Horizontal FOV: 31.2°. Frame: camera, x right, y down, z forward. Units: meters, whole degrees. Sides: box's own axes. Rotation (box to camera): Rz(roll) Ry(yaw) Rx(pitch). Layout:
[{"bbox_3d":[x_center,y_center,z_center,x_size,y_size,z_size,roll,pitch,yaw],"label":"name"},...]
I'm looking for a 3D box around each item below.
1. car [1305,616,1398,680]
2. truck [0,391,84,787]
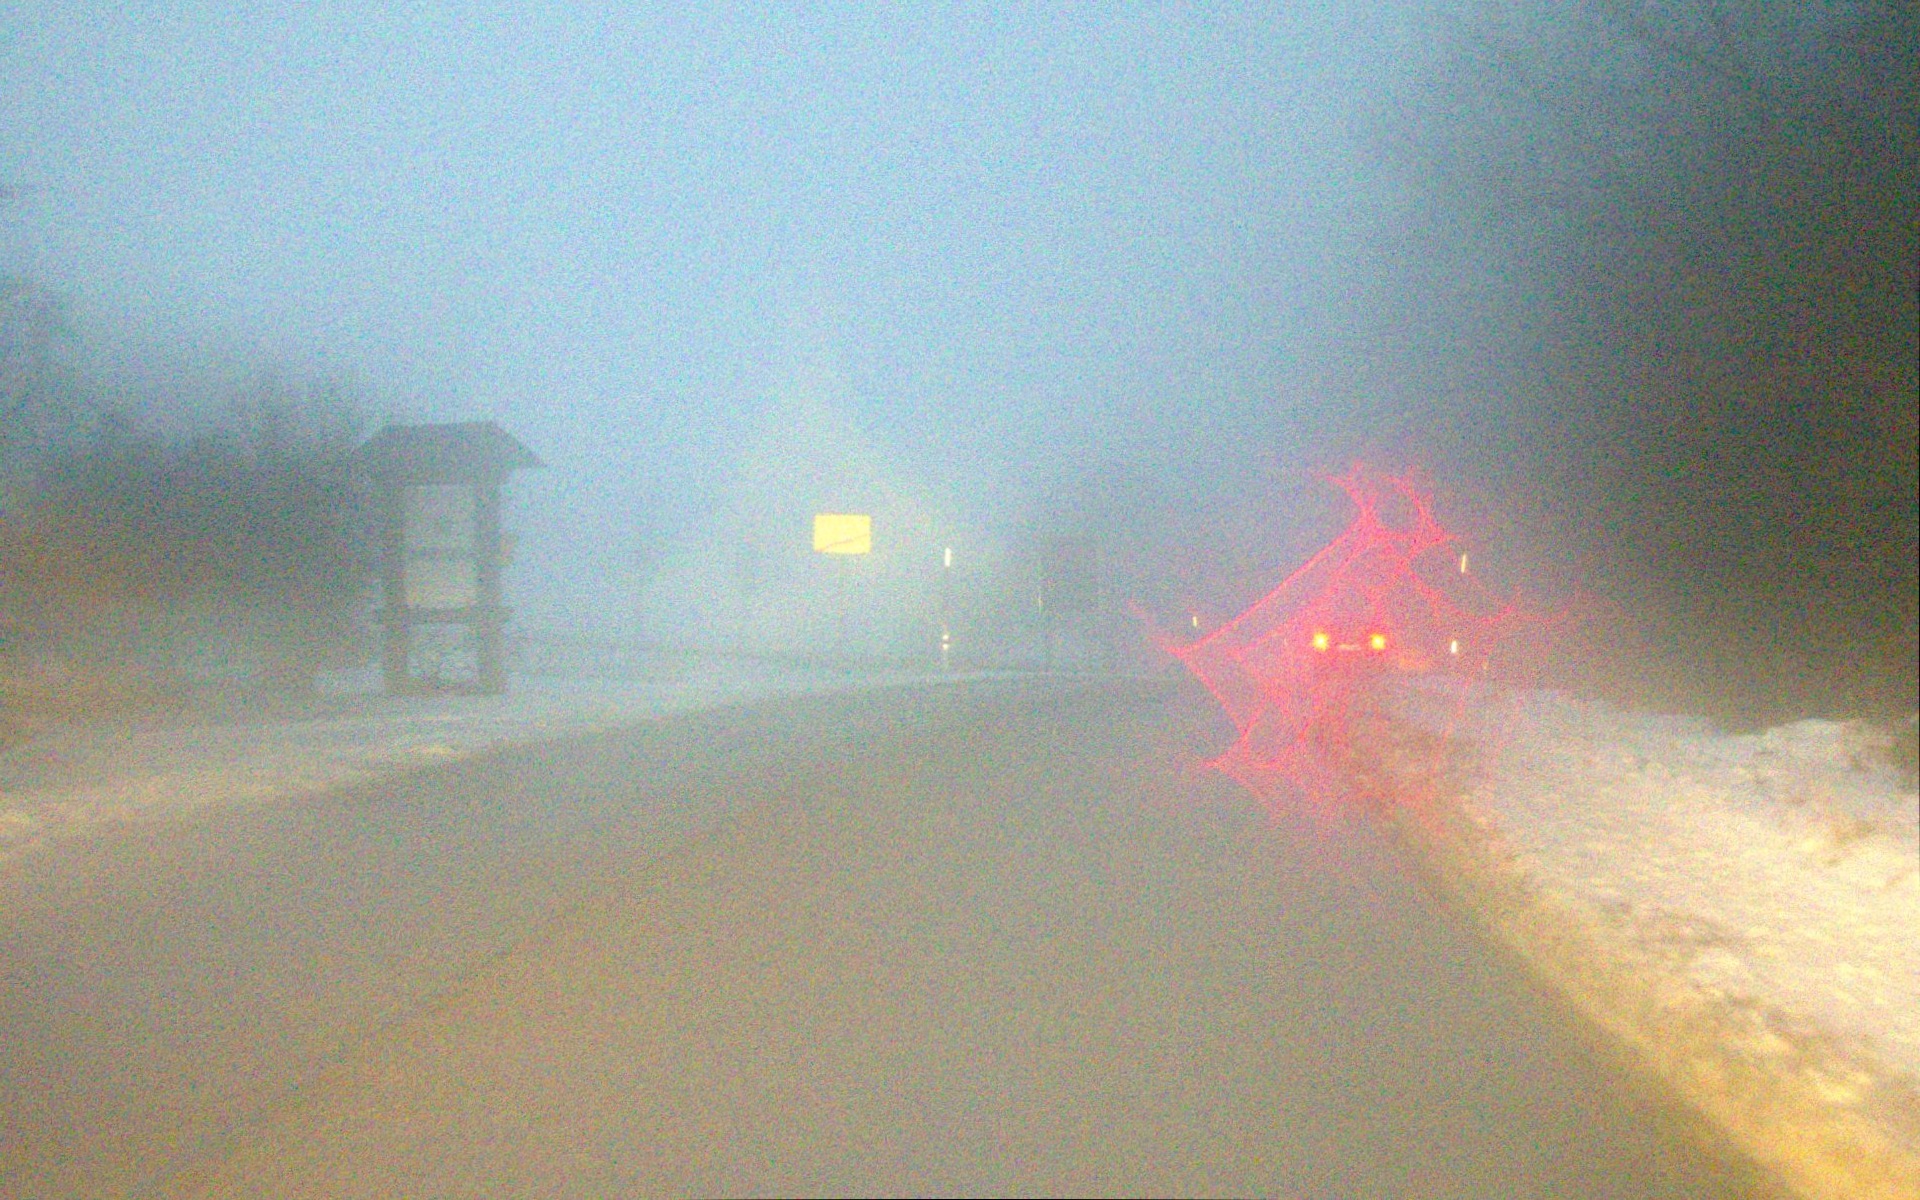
[{"bbox_3d":[9.022,1.122,79.490,1.994,1.415,3.999,0,-1,5],"label":"car"},{"bbox_3d":[-8.188,0.015,20.774,5.260,2.295,2.000,-2,1,-4],"label":"truck"}]
